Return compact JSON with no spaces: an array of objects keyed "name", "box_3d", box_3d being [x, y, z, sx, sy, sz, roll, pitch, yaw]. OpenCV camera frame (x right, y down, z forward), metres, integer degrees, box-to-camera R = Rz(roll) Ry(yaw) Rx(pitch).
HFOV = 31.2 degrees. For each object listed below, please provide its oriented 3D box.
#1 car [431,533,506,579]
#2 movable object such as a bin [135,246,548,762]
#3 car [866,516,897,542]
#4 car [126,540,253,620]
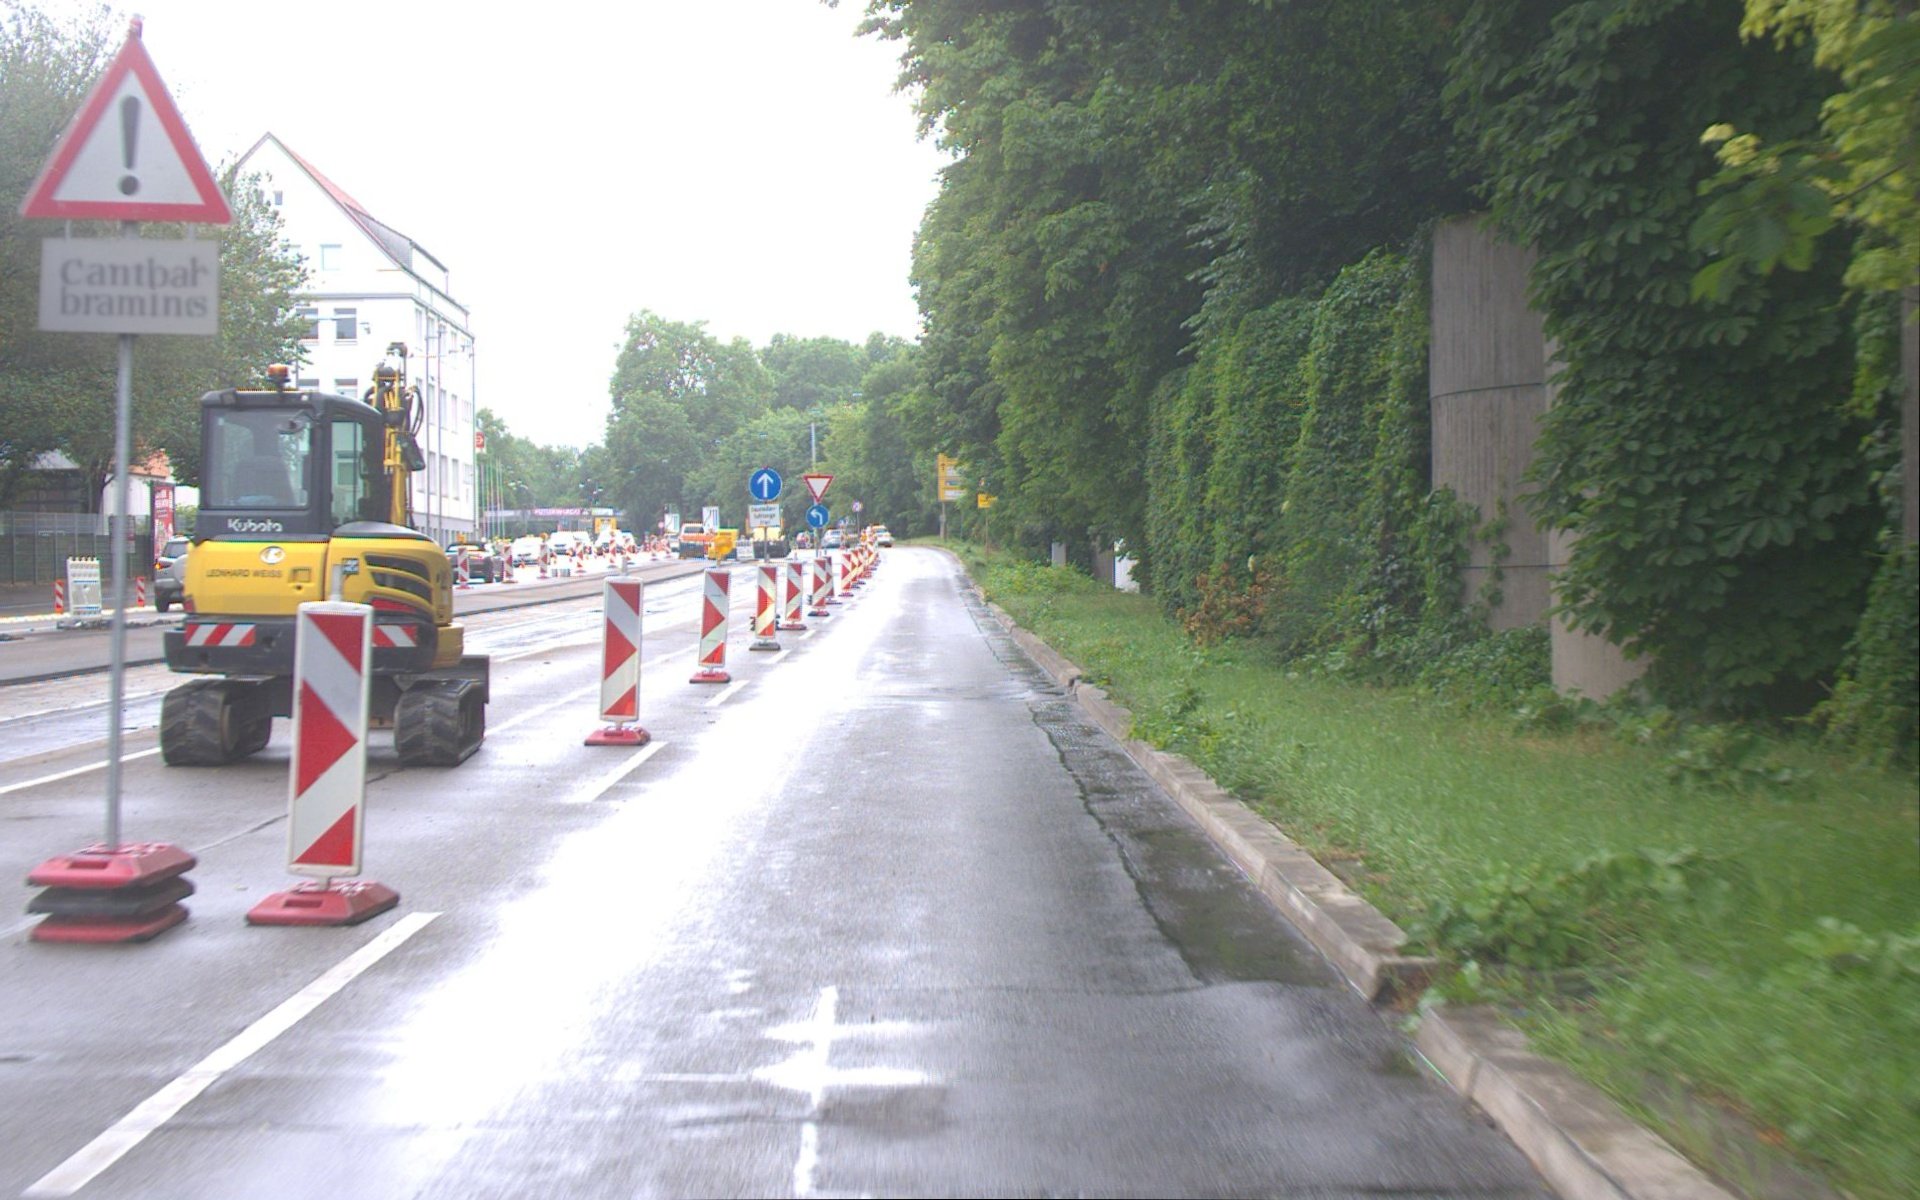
[{"name":"car","box_3d":[-16.539,-1.480,115.838,1.993,1.514,4.000,1,1,-1]},{"name":"movable object such as a bin","box_3d":[-4.408,-0.666,25.503,1.993,3.356,5.982,1,1,0]},{"name":"car","box_3d":[-5.195,-4.675,228.125,1.993,1.667,4.000,1,1,0]},{"name":"car","box_3d":[-16.494,-0.443,73.785,1.854,1.642,4.000,1,1,-1]}]
